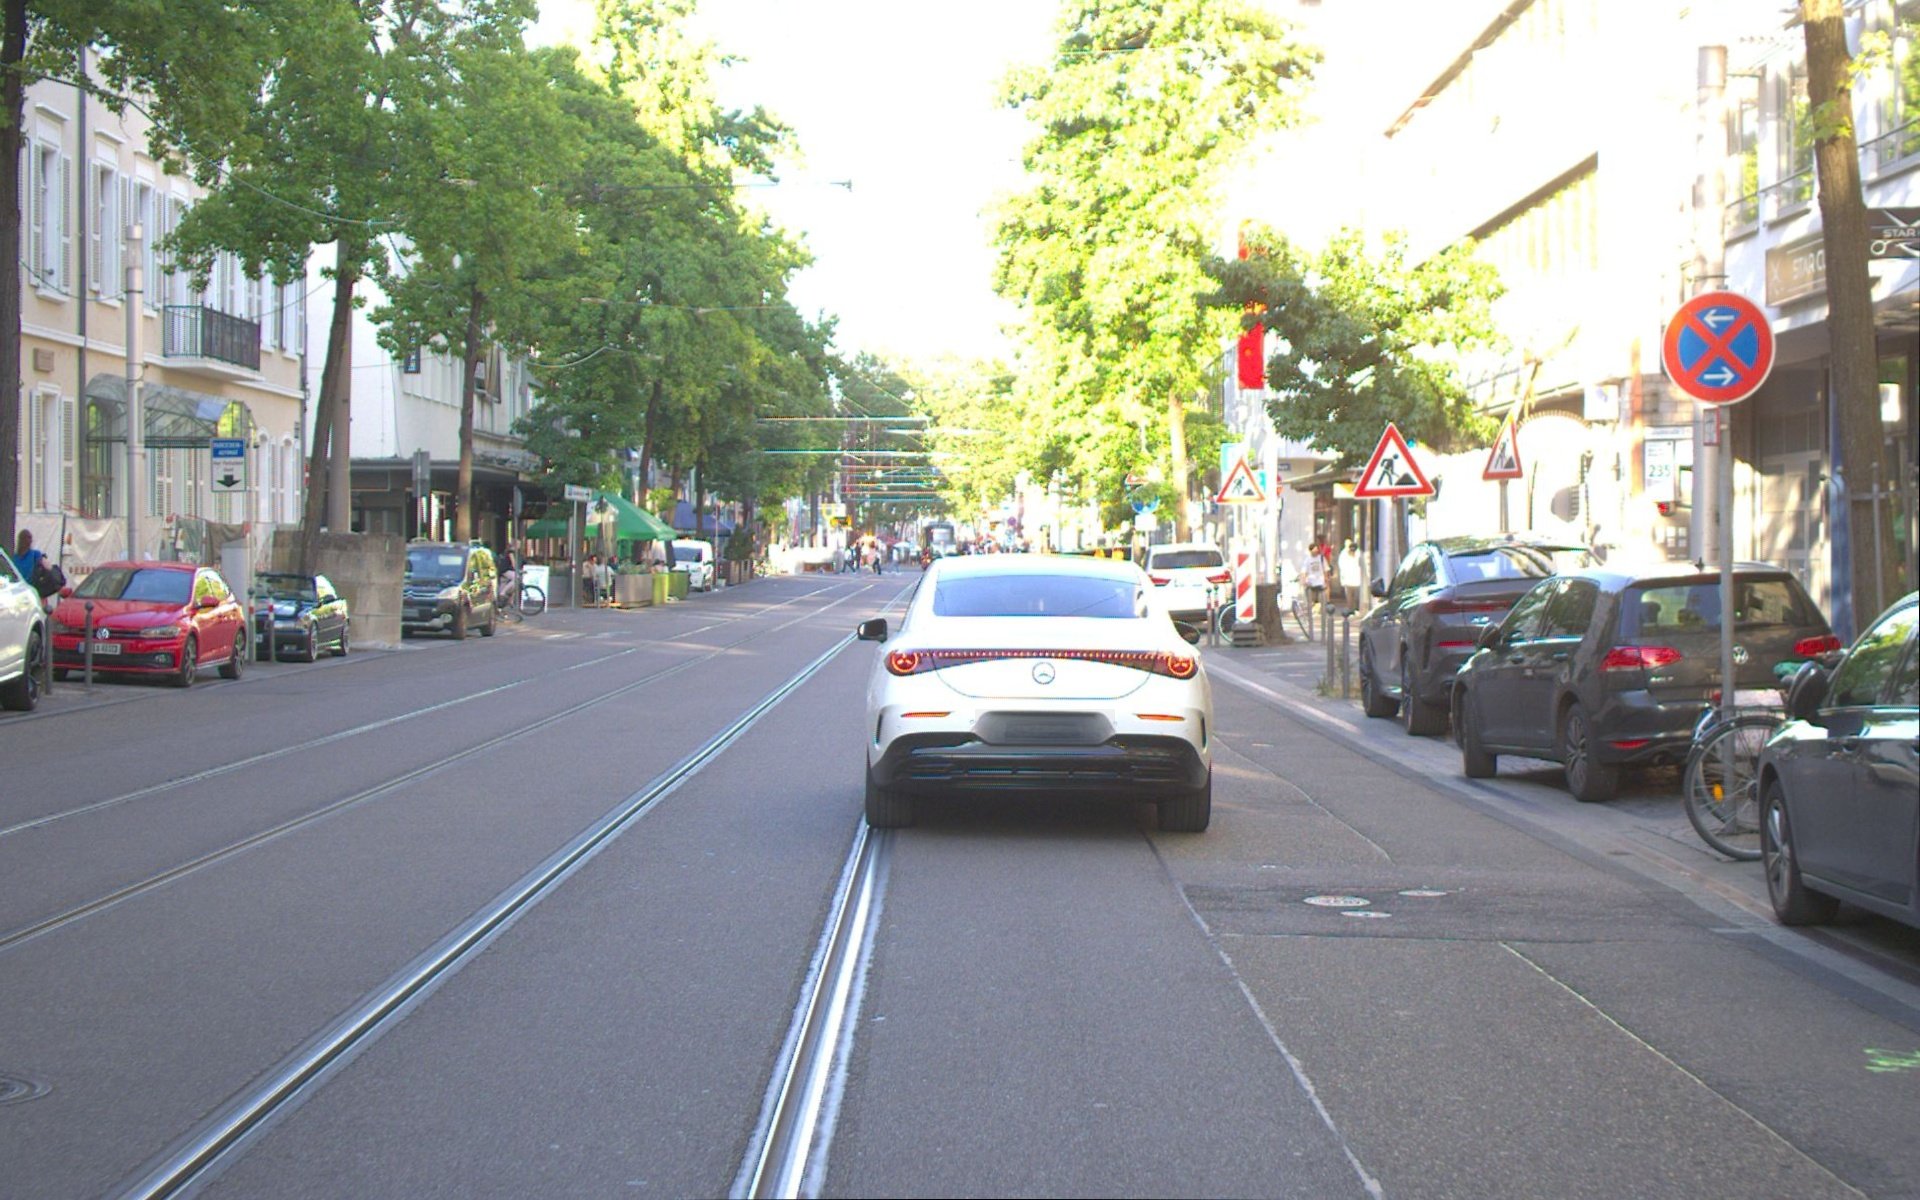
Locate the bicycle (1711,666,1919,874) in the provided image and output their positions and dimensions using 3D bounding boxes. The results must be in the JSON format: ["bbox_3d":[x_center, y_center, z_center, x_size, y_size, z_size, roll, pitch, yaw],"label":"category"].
[{"bbox_3d":[4.560,0.808,16.363,1.896,0.961,0.332,0,1,5],"label":"bicycle"}]

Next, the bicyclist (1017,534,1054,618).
[{"bbox_3d":[1.539,-0.492,69.944,0.724,1.697,0.811,0,0,1],"label":"bicyclist"}]

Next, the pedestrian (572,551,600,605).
[{"bbox_3d":[-10.298,-0.608,94.668,0.517,1.473,0.650,-2,0,-27],"label":"pedestrian"}]

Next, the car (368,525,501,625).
[{"bbox_3d":[-9.637,-0.478,63.280,1.553,1.790,3.166,0,1,8],"label":"car"}]

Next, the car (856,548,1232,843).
[{"bbox_3d":[0.389,0.448,19.142,1.868,1.464,4.043,0,1,-1],"label":"car"}]

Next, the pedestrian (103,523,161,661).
[{"bbox_3d":[-12.065,-0.119,50.105,0.707,1.997,0.675,0,1,-3],"label":"pedestrian"}]

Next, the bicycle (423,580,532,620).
[{"bbox_3d":[-10.313,-0.007,73.468,2.255,0.827,0.716,1,1,22],"label":"bicycle"}]

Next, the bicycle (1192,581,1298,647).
[{"bbox_3d":[4.659,0.222,56.237,1.723,1.058,0.581,0,1,4],"label":"bicycle"}]

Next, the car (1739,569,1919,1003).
[{"bbox_3d":[4.234,0.614,12.674,1.871,1.448,4.106,-2,1,2],"label":"car"}]

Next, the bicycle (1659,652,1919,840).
[{"bbox_3d":[4.537,0.772,18.313,1.538,0.961,0.496,0,1,4],"label":"bicycle"}]

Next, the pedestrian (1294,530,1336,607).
[{"bbox_3d":[8.261,-0.739,80.072,0.799,1.768,0.683,0,1,-12],"label":"pedestrian"}]

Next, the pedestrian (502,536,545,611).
[{"bbox_3d":[-10.383,-0.632,81.773,0.919,1.768,0.874,0,1,-14],"label":"pedestrian"}]

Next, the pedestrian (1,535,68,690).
[{"bbox_3d":[-11.980,0.155,44.505,0.707,1.997,0.675,0,1,-3],"label":"pedestrian"}]

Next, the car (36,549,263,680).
[{"bbox_3d":[-9.808,0.151,41.887,1.689,1.494,4.234,1,0,1],"label":"car"}]

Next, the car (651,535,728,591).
[{"bbox_3d":[-9.899,-1.369,126.063,1.994,2.007,3.999,0,1,8],"label":"car"}]

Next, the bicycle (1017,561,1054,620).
[{"bbox_3d":[1.534,-0.193,69.868,0.740,1.184,2.160,0,0,1],"label":"bicycle"}]

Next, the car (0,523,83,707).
[{"bbox_3d":[-9.778,0.121,31.768,1.962,1.686,5.013,1,0,1],"label":"car"}]

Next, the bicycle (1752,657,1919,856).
[{"bbox_3d":[4.777,0.778,17.201,1.539,0.961,0.496,0,1,7],"label":"bicycle"}]

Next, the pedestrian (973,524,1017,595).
[{"bbox_3d":[0.880,-1.024,86.987,0.919,1.768,0.874,0,1,-14],"label":"pedestrian"}]

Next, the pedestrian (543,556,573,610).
[{"bbox_3d":[-10.881,-0.467,93.134,0.569,1.459,0.649,1,1,19],"label":"pedestrian"}]

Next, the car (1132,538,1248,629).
[{"bbox_3d":[4.463,-0.338,67.267,1.993,1.722,4.241,0,1,0],"label":"car"}]

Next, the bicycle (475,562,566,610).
[{"bbox_3d":[-10.447,-0.334,81.756,2.047,1.132,0.874,0,1,-15],"label":"bicycle"}]

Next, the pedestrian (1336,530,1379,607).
[{"bbox_3d":[9.214,-0.737,79.625,0.799,1.768,0.683,0,1,-12],"label":"pedestrian"}]

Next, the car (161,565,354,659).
[{"bbox_3d":[-10.190,0.143,50.128,1.993,1.288,4.000,1,1,0],"label":"car"}]

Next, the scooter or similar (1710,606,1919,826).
[{"bbox_3d":[5.027,0.640,19.221,1.538,1.192,0.675,0,1,4],"label":"scooter or similar"}]

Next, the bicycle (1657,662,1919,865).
[{"bbox_3d":[4.442,0.793,16.717,2.038,0.961,0.282,0,1,5],"label":"bicycle"}]

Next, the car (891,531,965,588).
[{"bbox_3d":[-1.786,-2.236,192.400,4.039,3.103,8.431,0,0,0],"label":"car"}]

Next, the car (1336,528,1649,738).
[{"bbox_3d":[4.633,0.232,30.627,1.993,1.707,4.866,0,1,0],"label":"car"}]

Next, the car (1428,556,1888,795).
[{"bbox_3d":[4.486,0.431,22.727,1.837,1.431,4.001,0,1,-6],"label":"car"}]
